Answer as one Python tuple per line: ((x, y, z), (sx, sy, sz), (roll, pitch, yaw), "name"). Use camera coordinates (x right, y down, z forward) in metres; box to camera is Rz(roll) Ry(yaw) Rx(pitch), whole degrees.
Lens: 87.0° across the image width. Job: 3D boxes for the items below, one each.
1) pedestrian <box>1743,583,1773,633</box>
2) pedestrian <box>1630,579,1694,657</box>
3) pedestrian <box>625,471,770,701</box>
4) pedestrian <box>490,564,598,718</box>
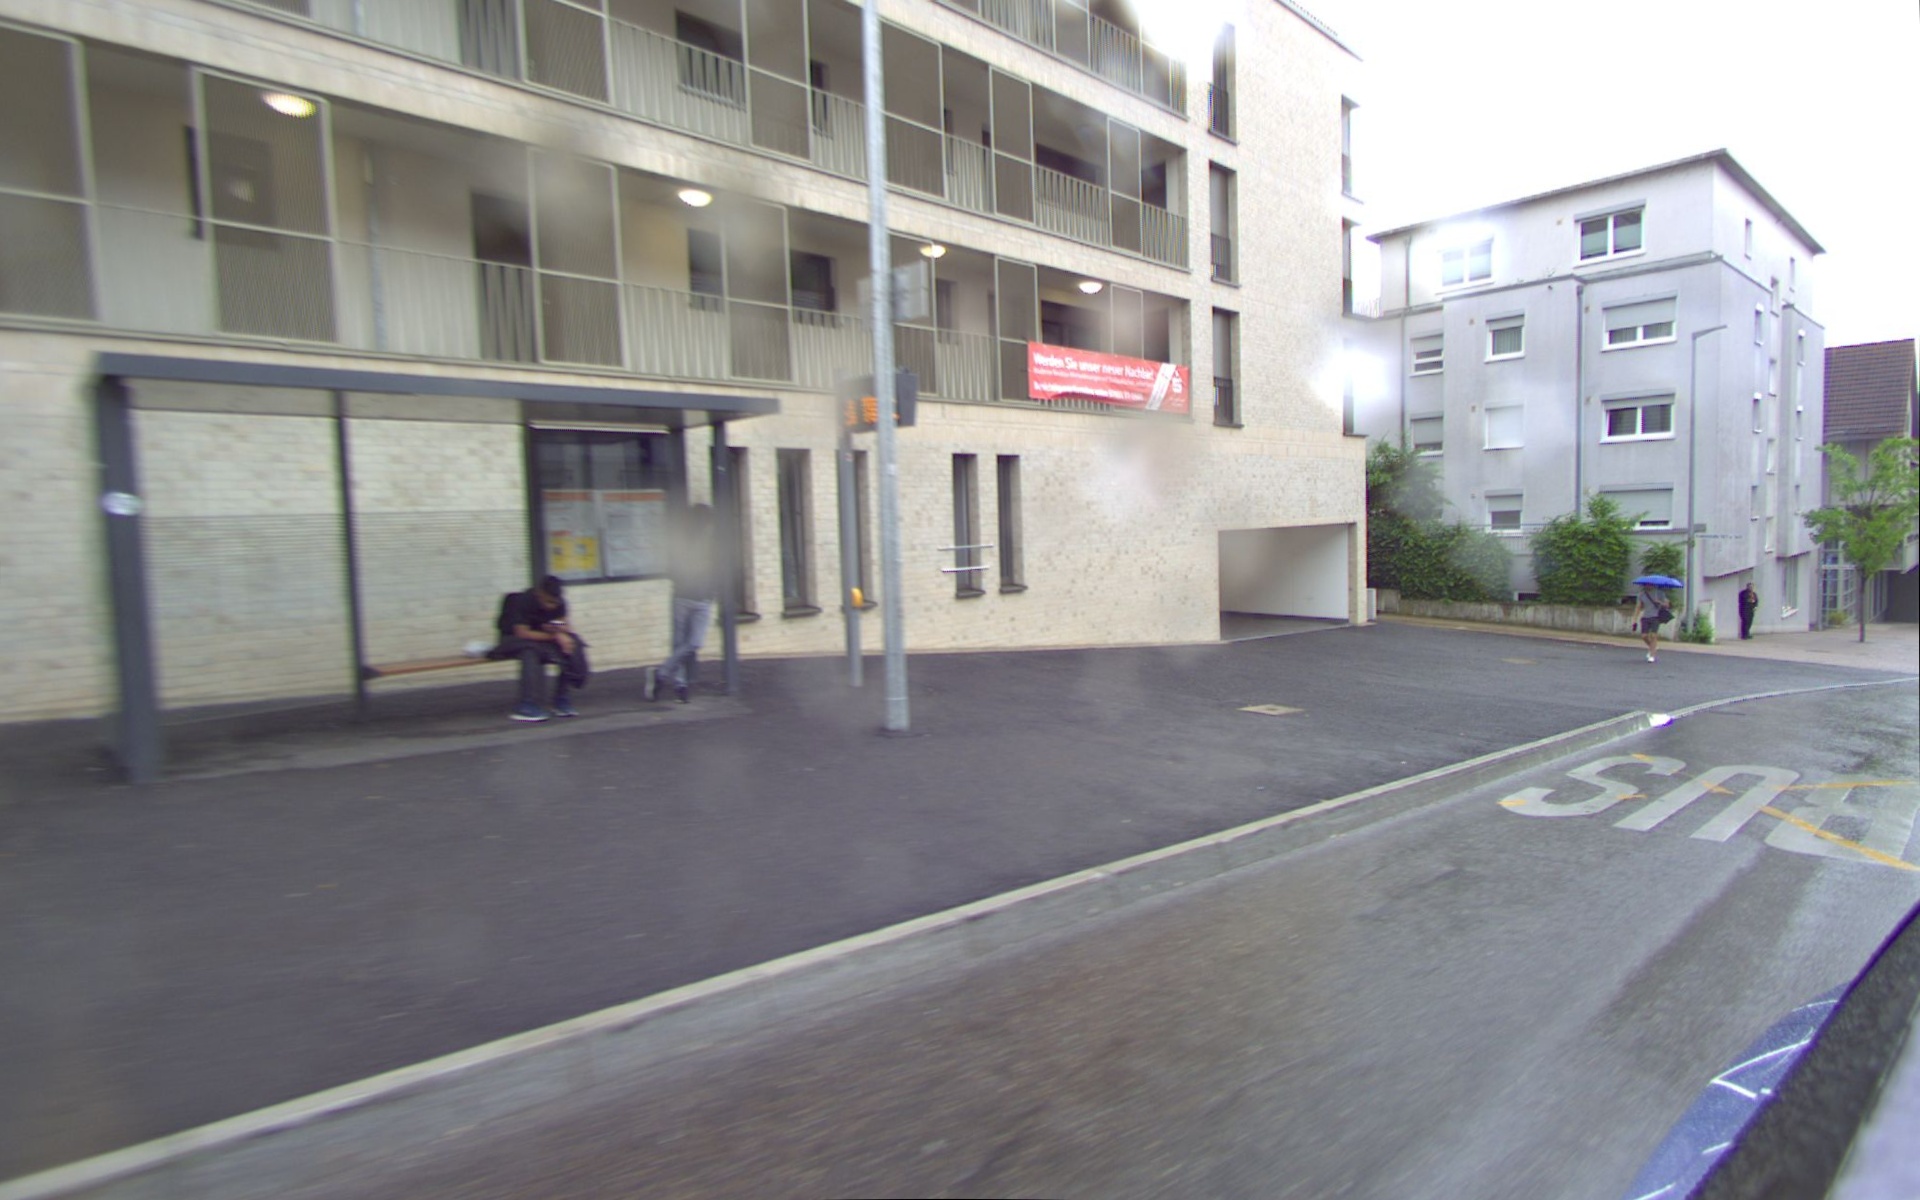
((25.846, 0.243, 32.782), (0.690, 1.575, 0.700), (1, 1, 42), "pedestrian")
((14.764, 0.361, 21.279), (1.019, 1.560, 0.738), (0, 5, -39), "pedestrian")
((-2.405, -0.142, 9.259), (1.003, 1.963, 0.784), (0, 3, -42), "pedestrian")
((-3.422, 0.309, 8.311), (0.624, 1.176, 0.673), (0, 3, -42), "pedestrian")
